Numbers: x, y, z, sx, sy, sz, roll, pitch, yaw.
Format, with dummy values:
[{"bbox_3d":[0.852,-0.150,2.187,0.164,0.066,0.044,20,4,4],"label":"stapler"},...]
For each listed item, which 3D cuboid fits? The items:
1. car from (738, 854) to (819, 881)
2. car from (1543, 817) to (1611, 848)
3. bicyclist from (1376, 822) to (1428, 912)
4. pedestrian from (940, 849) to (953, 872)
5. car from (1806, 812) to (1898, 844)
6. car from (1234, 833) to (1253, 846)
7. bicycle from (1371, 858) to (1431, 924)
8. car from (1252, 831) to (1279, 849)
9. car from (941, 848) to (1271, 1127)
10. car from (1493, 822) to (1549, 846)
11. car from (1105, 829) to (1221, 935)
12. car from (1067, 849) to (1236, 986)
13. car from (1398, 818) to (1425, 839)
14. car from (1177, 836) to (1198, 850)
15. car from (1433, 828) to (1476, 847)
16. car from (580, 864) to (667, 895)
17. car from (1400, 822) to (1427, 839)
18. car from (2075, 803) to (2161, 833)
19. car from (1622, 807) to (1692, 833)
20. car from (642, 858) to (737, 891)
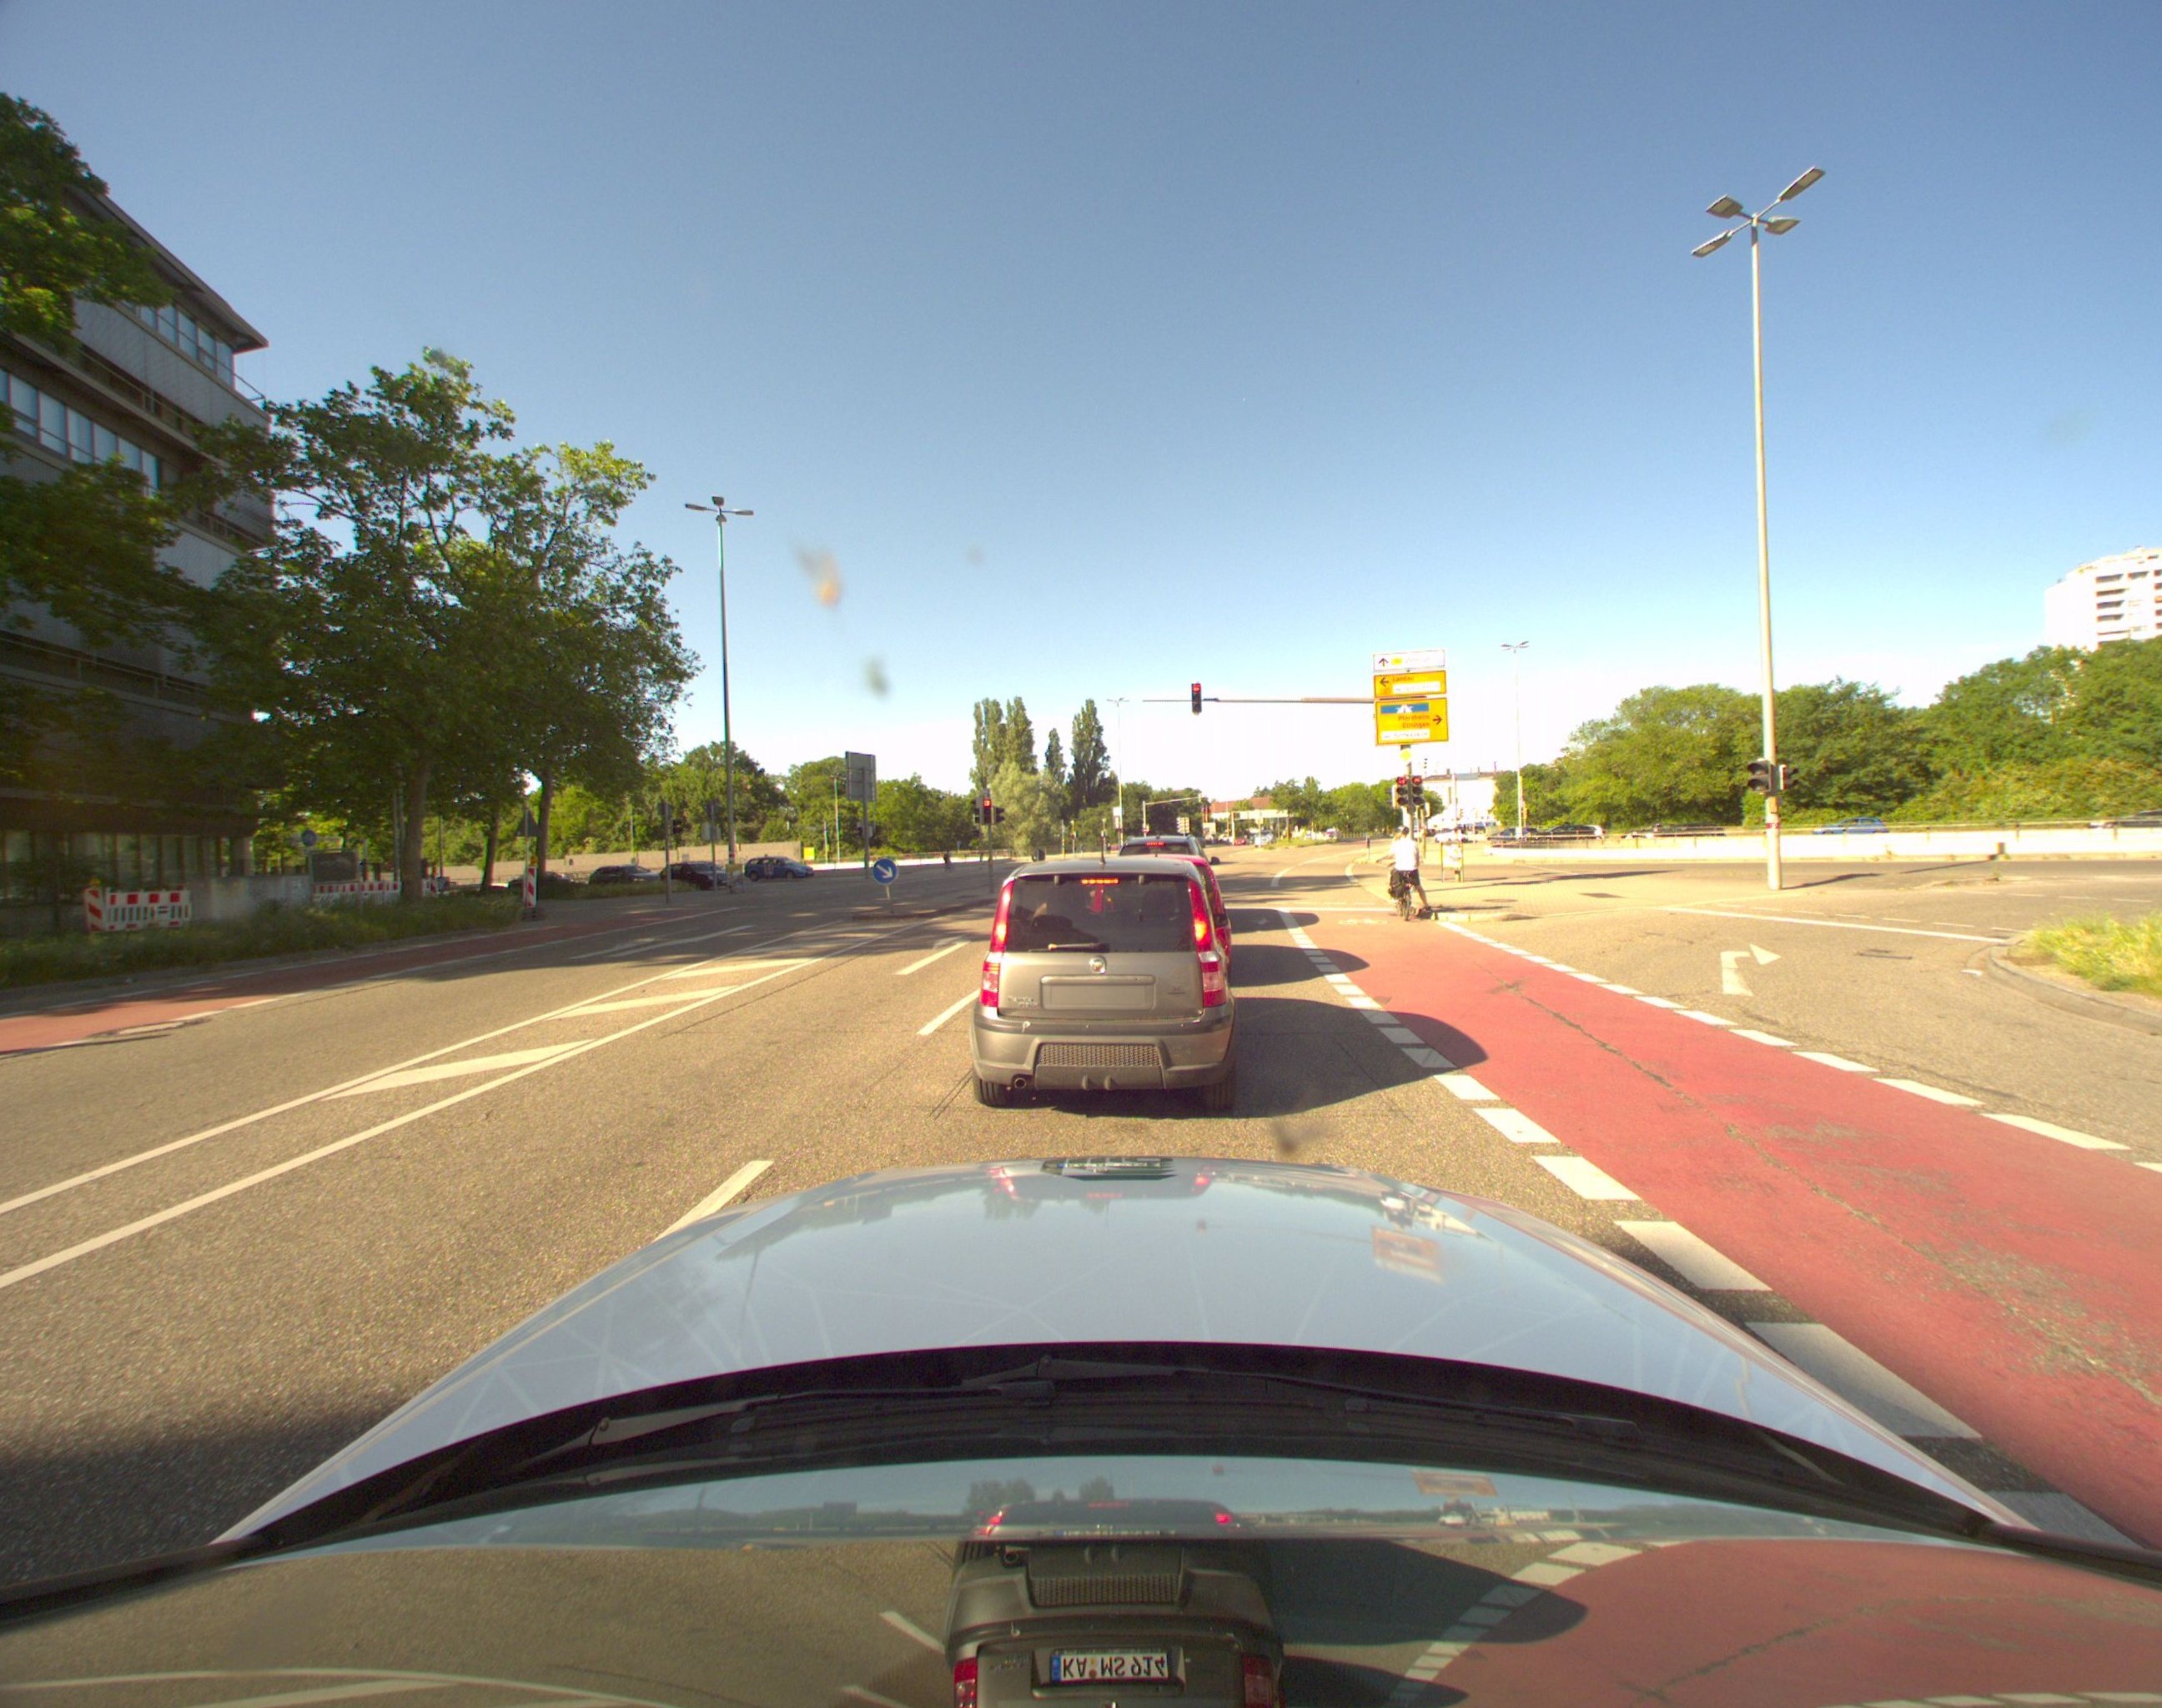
[{"bbox_3d":[-18.861,0.831,50.789,4.402,1.438,1.834,-2,0,16],"label":"car"},{"bbox_3d":[36.394,-1.551,59.745,3.948,2.014,2.012,-3,-2,40],"label":"car"},{"bbox_3d":[6.330,0.227,16.044,0.792,1.704,1.092,-1,1,28],"label":"bicyclist"},{"bbox_3d":[-9.449,0.490,57.259,0.684,1.538,1.365,-1,-4,0],"label":"pedestrian"},{"bbox_3d":[51.815,-1.717,54.870,4.205,1.855,2.032,-2,-2,36],"label":"car"},{"bbox_3d":[26.479,-2.374,132.319,1.995,1.855,4.913,-2,-2,23],"label":"car"},{"bbox_3d":[6.345,0.681,16.060,0.792,1.110,2.417,-1,2,29],"label":"bicycle"},{"bbox_3d":[21.404,-1.566,94.285,1.994,1.855,4.914,-2,-2,26],"label":"car"},{"bbox_3d":[0.317,0.707,6.479,1.811,1.489,4.006,0,1,5],"label":"car"},{"bbox_3d":[39.074,-1.723,72.437,2.010,1.855,4.876,-1,-2,-6],"label":"car"},{"bbox_3d":[1.776,0.444,16.189,1.857,1.790,4.428,0,1,11],"label":"car"},{"bbox_3d":[0.930,0.683,10.825,1.811,1.479,4.005,0,0,5],"label":"car"},{"bbox_3d":[44.354,-3.365,109.216,2.232,2.607,4.917,-2,-2,35],"label":"car"},{"bbox_3d":[15.604,-1.571,119.220,1.996,1.855,4.453,-2,-2,20],"label":"car"},{"bbox_3d":[37.400,-1.617,81.654,1.994,1.750,3.985,-1,-2,-10],"label":"car"},{"bbox_3d":[-24.956,1.392,44.424,4.396,1.438,1.836,-2,1,24],"label":"car"},{"bbox_3d":[37.804,-2.656,92.665,1.981,1.750,4.012,-1,-2,11],"label":"car"},{"bbox_3d":[61.463,-2.129,47.620,3.948,1.618,1.739,-1,1,39],"label":"car"},{"bbox_3d":[44.054,-2.558,62.374,2.010,1.662,3.953,0,-2,-39],"label":"car"},{"bbox_3d":[-19.638,1.041,40.867,4.396,1.438,1.836,-2,1,24],"label":"car"}]
